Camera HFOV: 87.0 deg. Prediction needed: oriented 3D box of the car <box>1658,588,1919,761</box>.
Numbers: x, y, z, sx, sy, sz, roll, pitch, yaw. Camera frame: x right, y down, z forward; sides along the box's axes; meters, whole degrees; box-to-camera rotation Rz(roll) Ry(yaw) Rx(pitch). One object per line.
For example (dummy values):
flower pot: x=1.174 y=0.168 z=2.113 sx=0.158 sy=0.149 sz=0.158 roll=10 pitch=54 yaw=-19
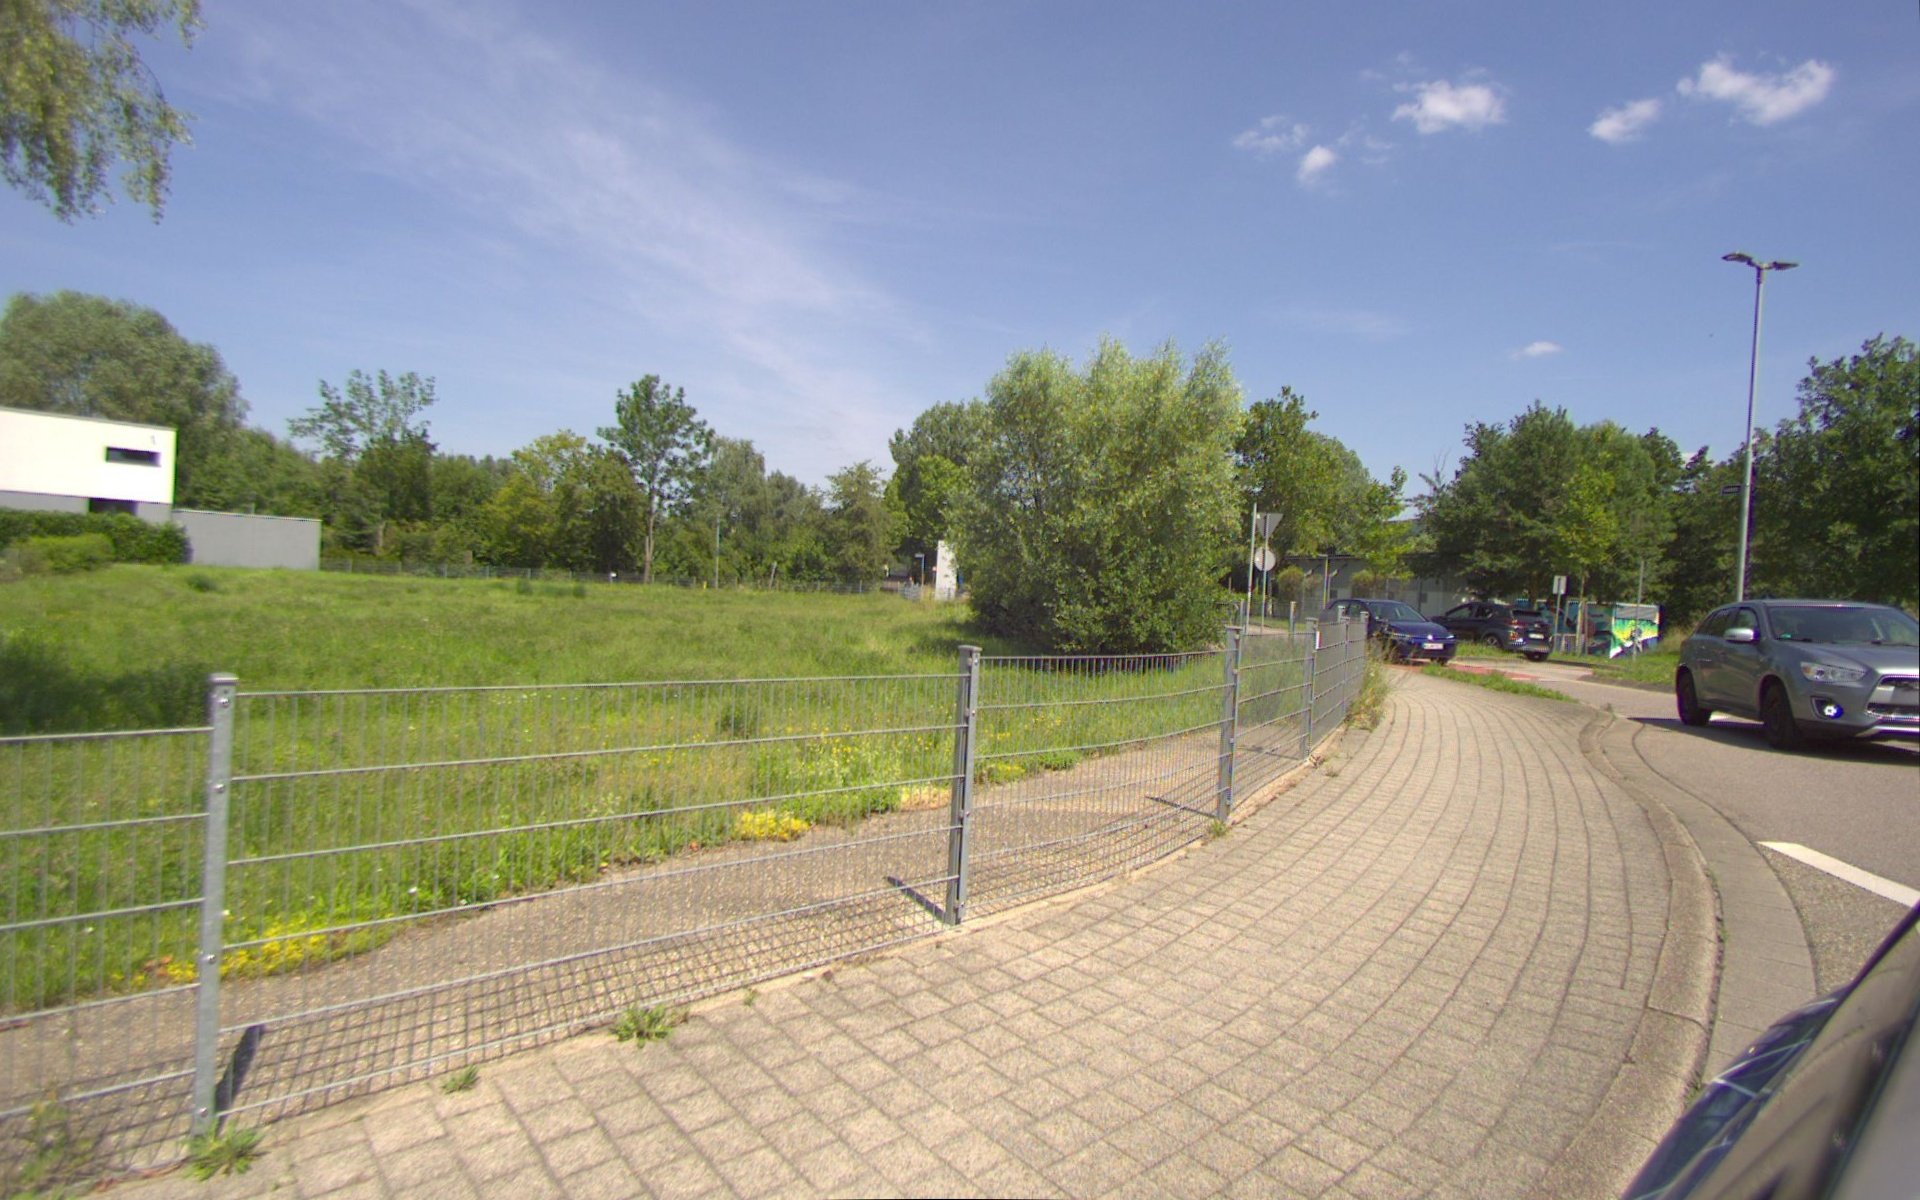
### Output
car: x=9.642 y=0.691 z=11.411 sx=1.729 sy=1.553 sz=4.495 roll=3 pitch=1 yaw=20

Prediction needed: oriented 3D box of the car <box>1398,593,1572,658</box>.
car: x=15.248 y=0.683 z=29.708 sx=1.827 sy=1.588 sz=4.497 roll=4 pitch=0 yaw=-17

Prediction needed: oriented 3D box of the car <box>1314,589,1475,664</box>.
car: x=10.405 y=0.579 z=24.606 sx=1.759 sy=1.559 sz=4.136 roll=3 pitch=1 yaw=-5
